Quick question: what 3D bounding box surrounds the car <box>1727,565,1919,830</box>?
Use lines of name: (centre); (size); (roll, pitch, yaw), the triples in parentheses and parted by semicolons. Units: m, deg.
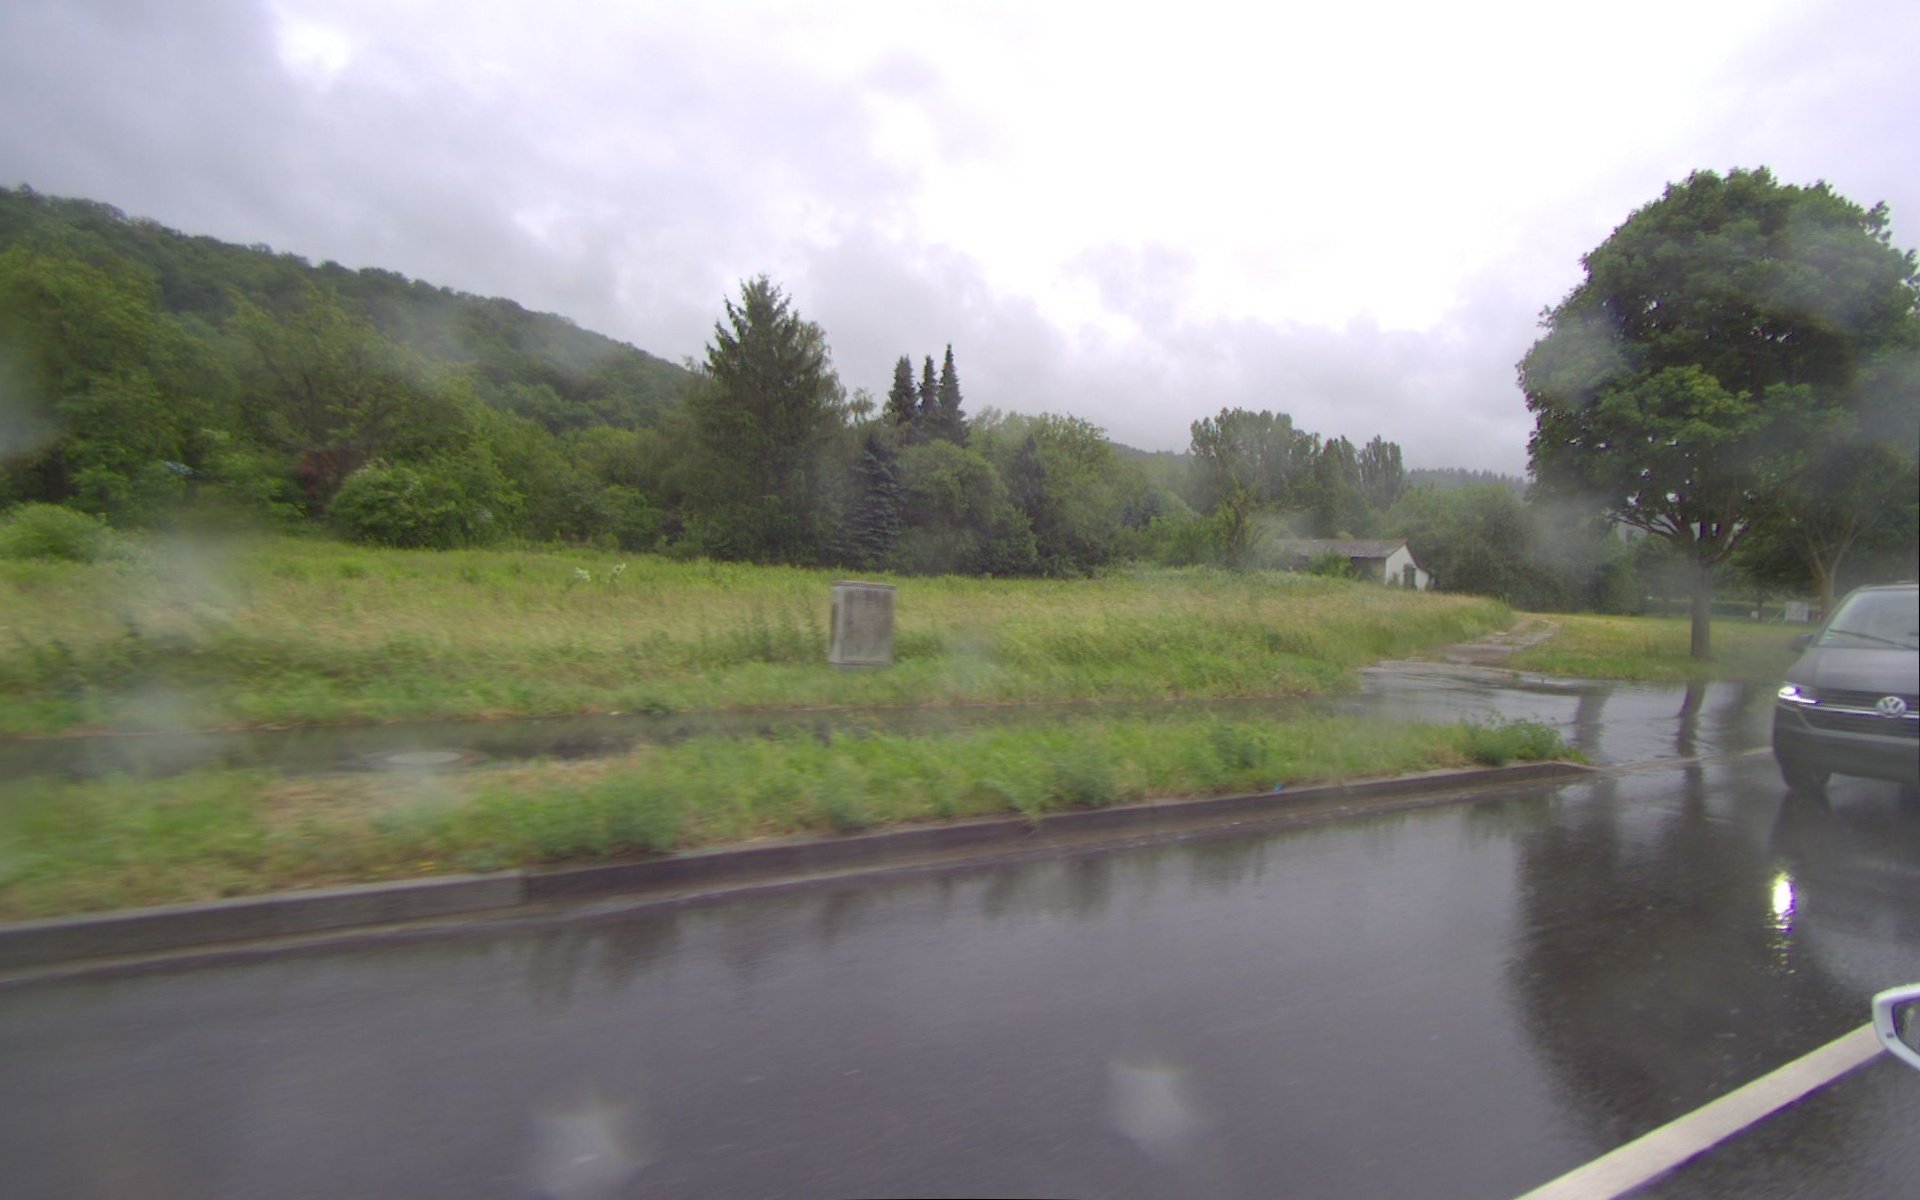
car: (9.226, 0.797, 9.114); (4.901, 1.999, 1.983); (2, 0, -32)
